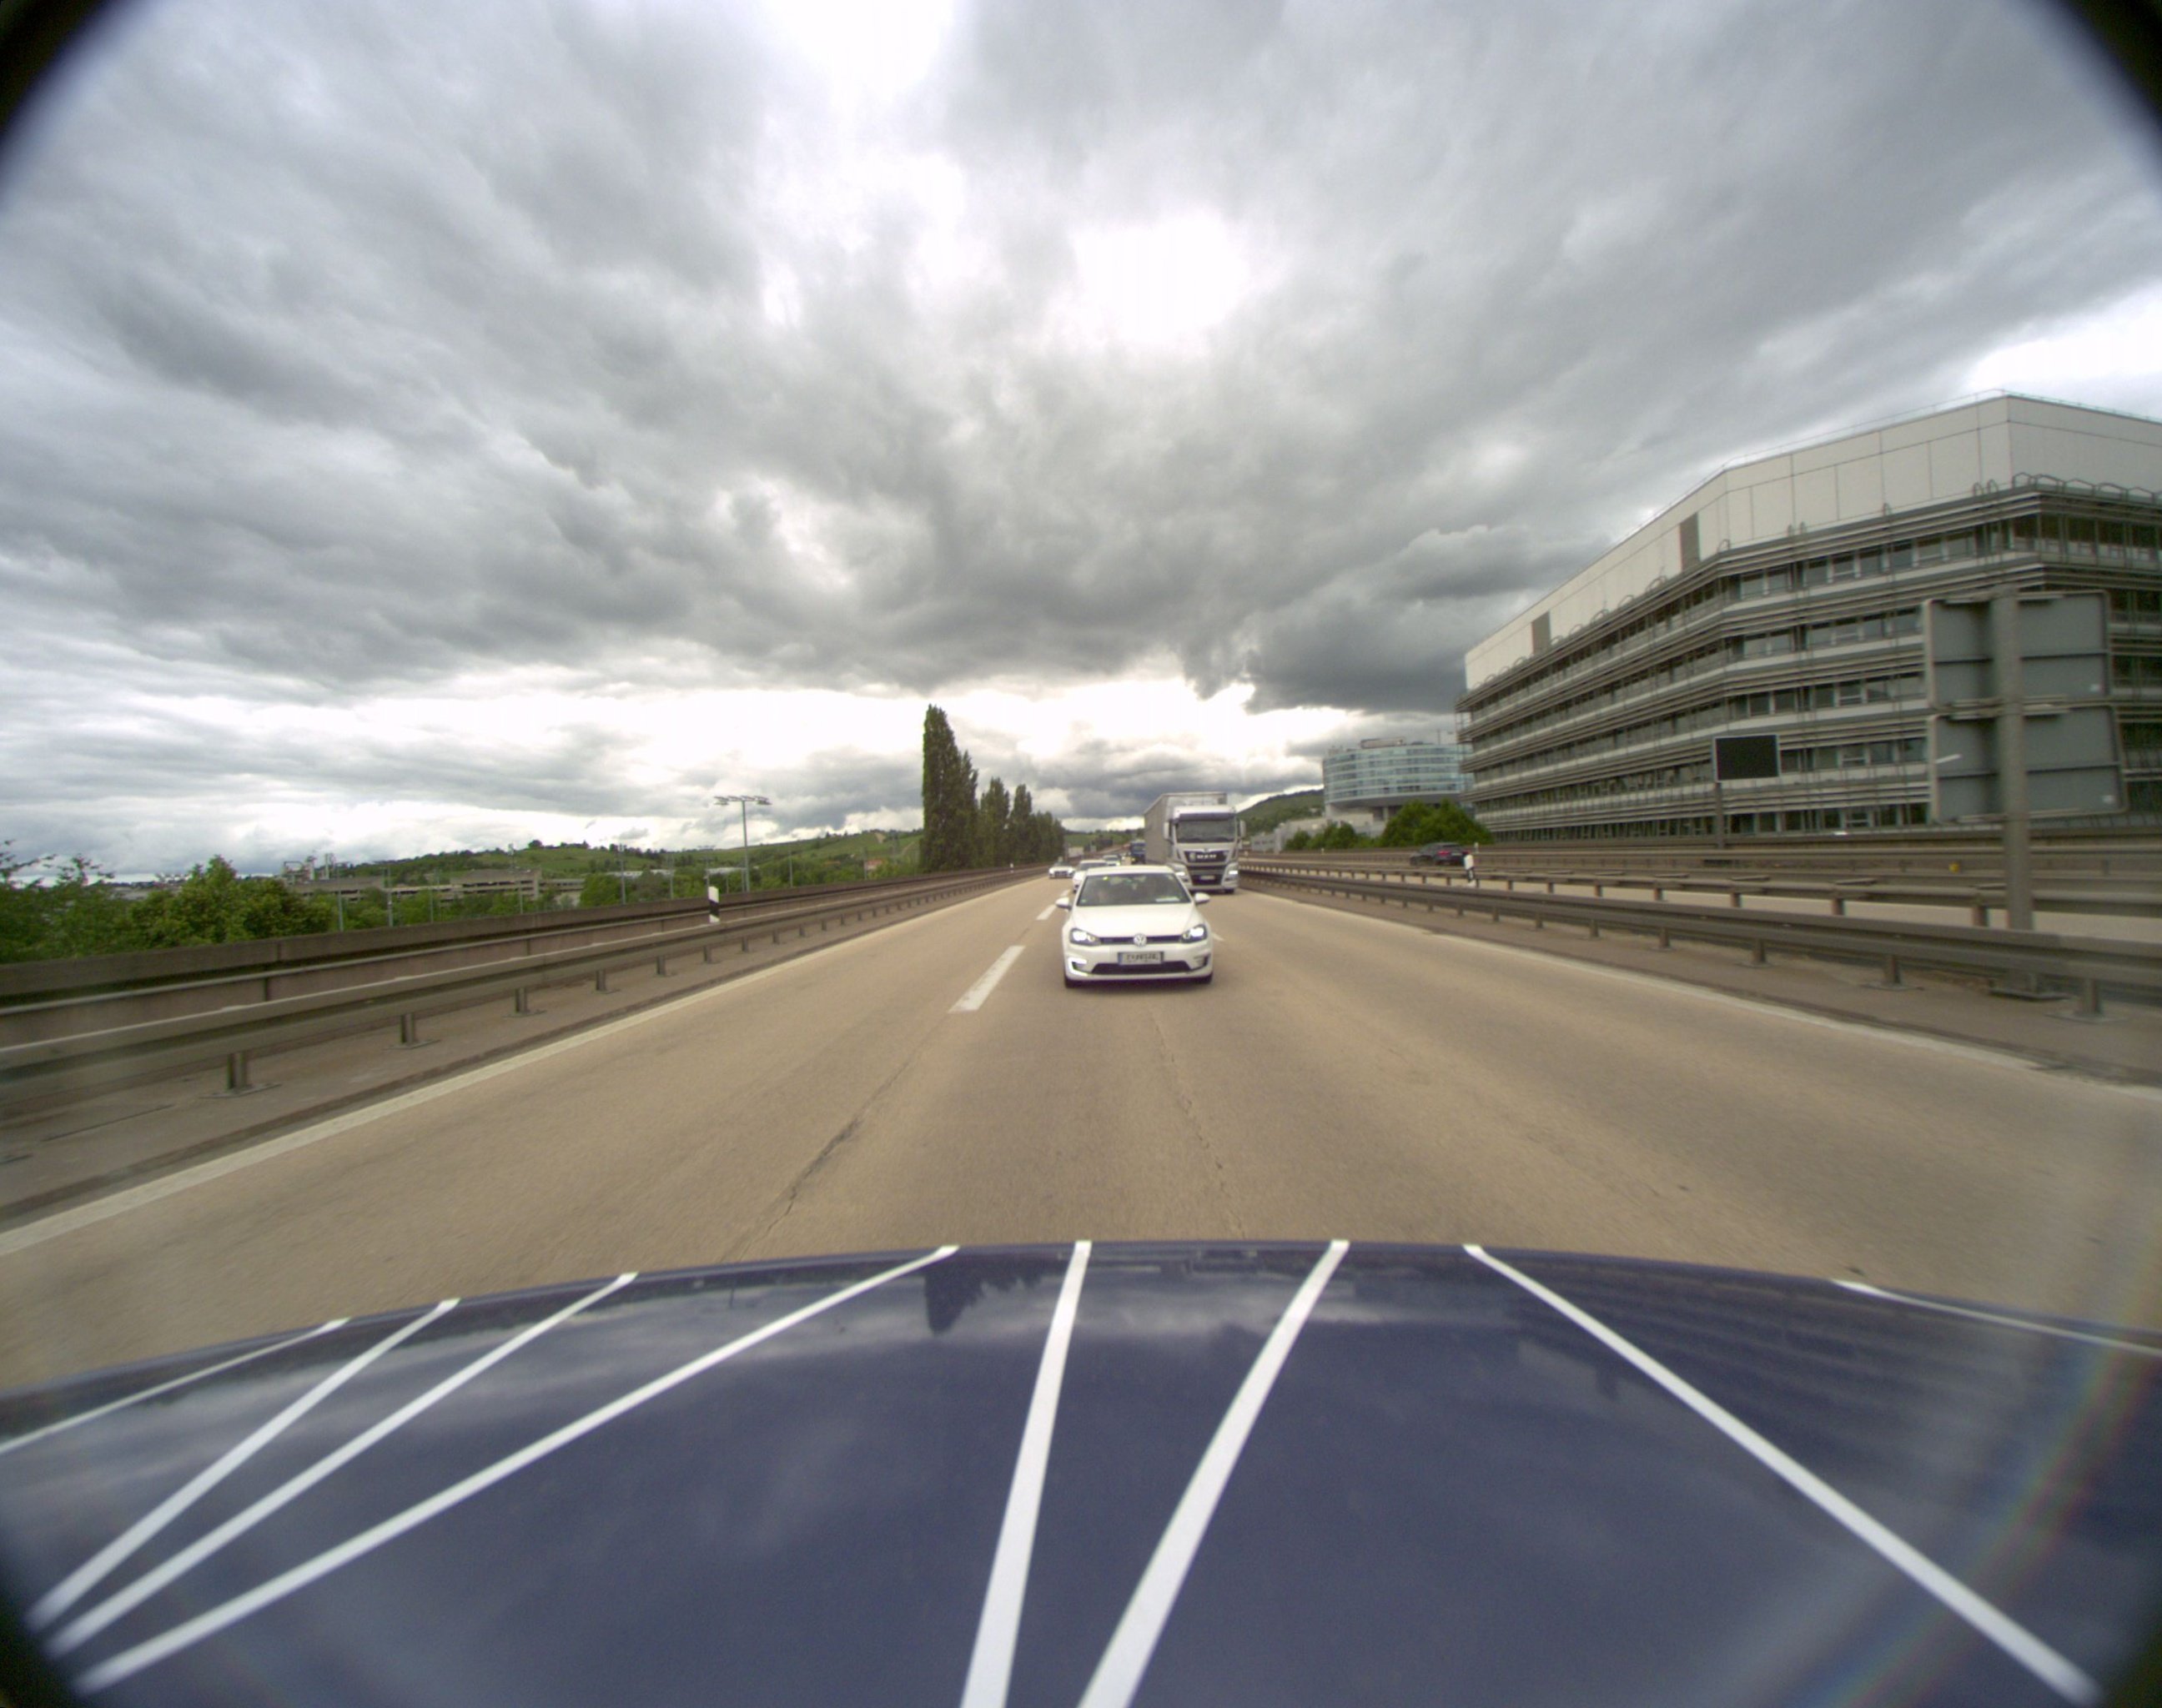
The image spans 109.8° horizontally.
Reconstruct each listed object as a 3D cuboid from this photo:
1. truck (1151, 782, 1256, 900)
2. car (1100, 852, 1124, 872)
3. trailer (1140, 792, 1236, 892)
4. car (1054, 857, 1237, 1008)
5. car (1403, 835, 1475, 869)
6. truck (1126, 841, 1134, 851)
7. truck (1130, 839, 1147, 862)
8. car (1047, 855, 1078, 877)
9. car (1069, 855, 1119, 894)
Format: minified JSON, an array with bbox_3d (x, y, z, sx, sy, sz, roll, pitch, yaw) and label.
[{"bbox_3d":[4.679,-0.497,30.193,3.142,4.014,5.688,-4,1,2],"label":"truck"},{"bbox_3d":[2.935,0.718,71.170,1.930,1.585,4.062,-3,1,4],"label":"car"},{"bbox_3d":[4.988,-0.565,38.059,3.189,4.003,11.765,-4,1,2],"label":"trailer"},{"bbox_3d":[0.843,0.874,10.282,1.930,1.499,4.062,-2,1,4],"label":"car"},{"bbox_3d":[19.118,-0.136,40.769,1.687,1.641,4.359,-3,1,-1],"label":"car"},{"bbox_3d":[16.226,-2.705,252.064,2.625,3.219,6.687,-2,1,5],"label":"truck"},{"bbox_3d":[8.386,-0.554,110.203,2.336,3.219,6.687,-2,1,5],"label":"truck"},{"bbox_3d":[-1.423,0.892,59.899,1.930,1.499,4.062,-3,1,4],"label":"car"},{"bbox_3d":[0.664,0.882,34.346,1.930,1.499,4.062,-3,1,4],"label":"car"}]
